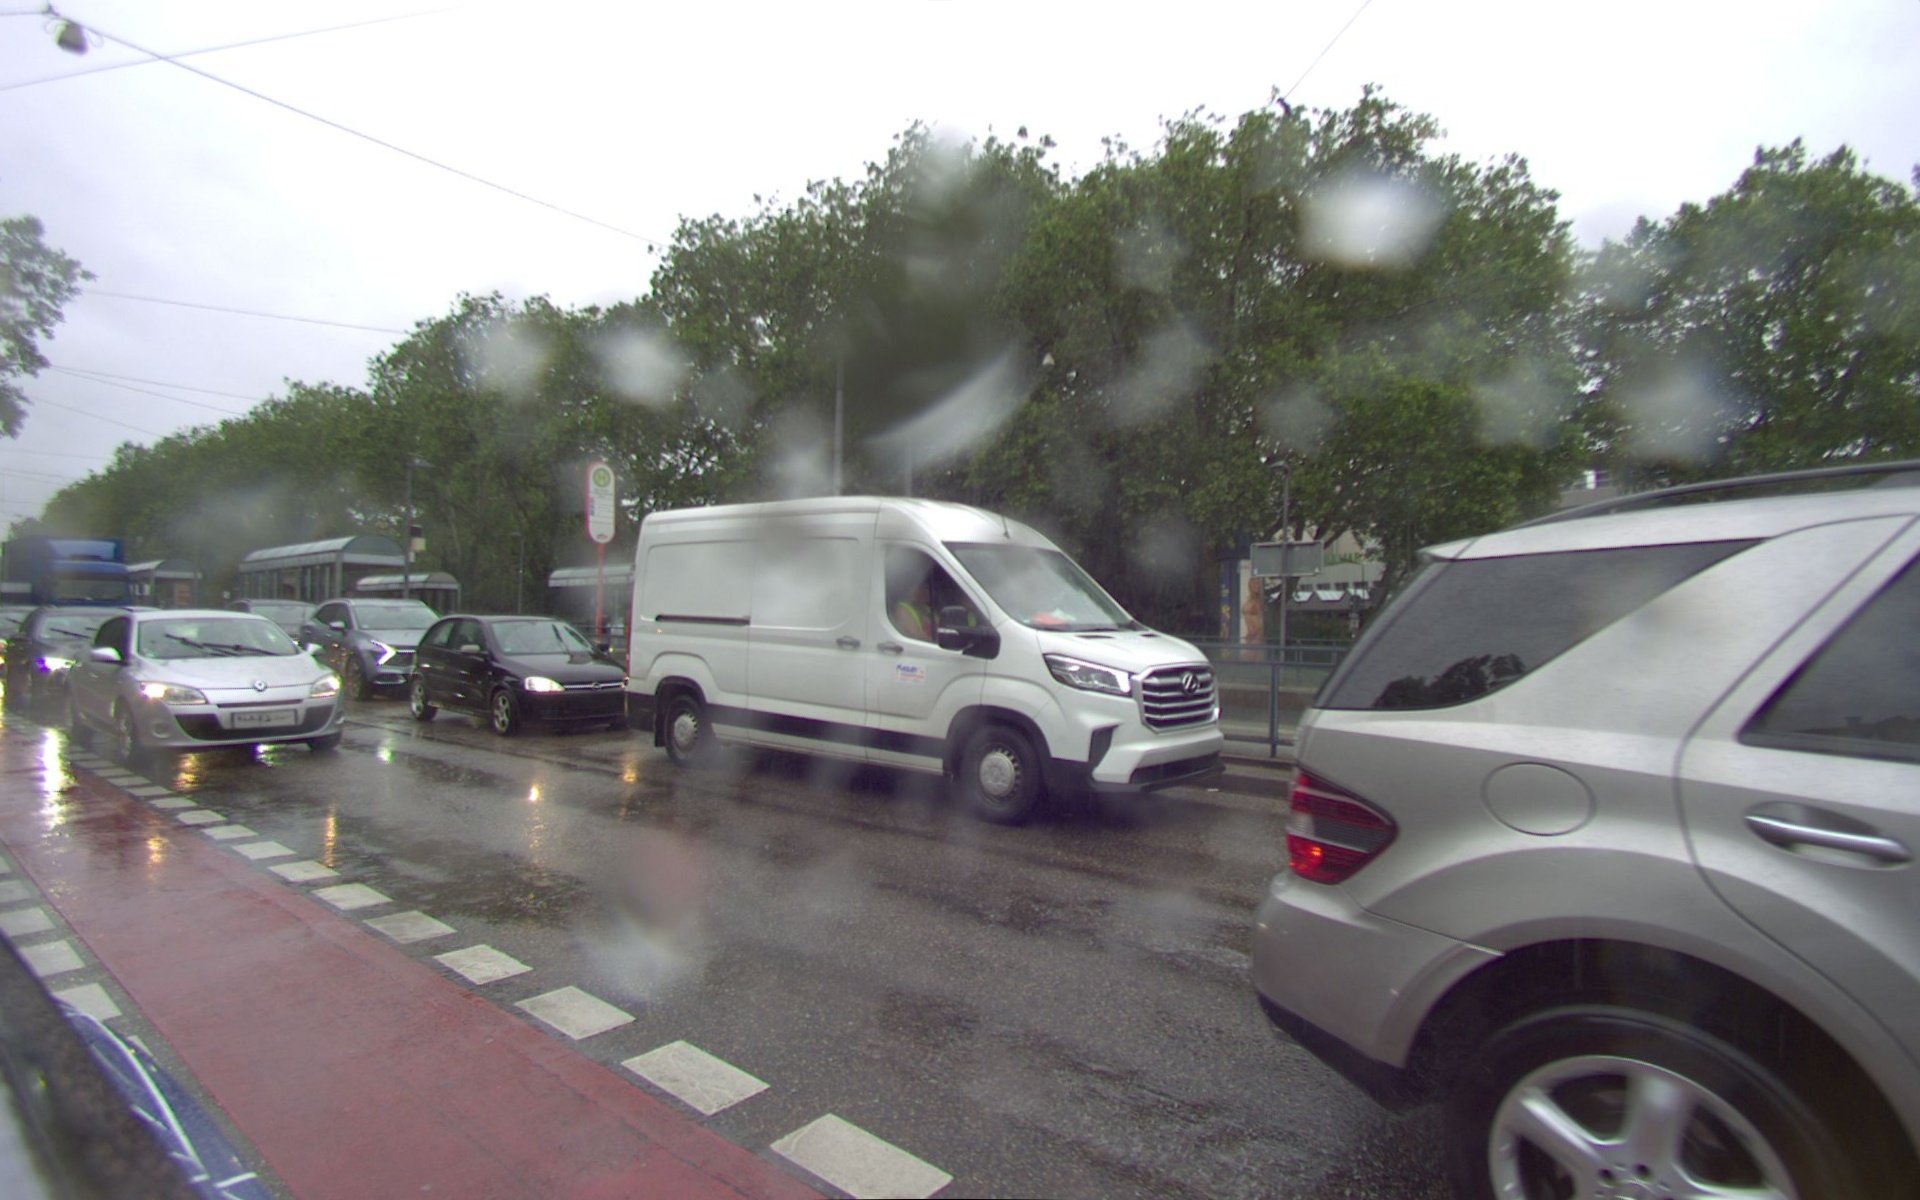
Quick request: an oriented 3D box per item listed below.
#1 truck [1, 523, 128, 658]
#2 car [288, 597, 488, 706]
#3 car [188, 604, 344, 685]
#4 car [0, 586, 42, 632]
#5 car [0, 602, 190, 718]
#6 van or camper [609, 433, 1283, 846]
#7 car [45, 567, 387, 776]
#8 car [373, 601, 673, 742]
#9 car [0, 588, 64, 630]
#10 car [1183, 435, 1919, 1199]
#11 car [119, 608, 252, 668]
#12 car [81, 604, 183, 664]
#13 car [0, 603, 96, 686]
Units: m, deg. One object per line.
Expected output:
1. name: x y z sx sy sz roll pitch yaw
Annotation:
1. truck: -32.088 -0.204 36.135 8.349 4.309 2.386 -2 -2 41
2. car: -9.915 0.832 17.410 4.248 1.647 1.823 -2 -2 43
3. car: -15.747 0.972 22.908 4.187 1.659 1.889 -2 -2 40
4. car: -46.688 0.411 49.424 5.454 2.166 2.313 0 1 43
5. car: -13.738 0.865 15.897 4.667 1.561 1.887 -2 -2 43
6. van or camper: -0.491 0.304 8.873 5.965 2.490 2.153 -1 -2 40
7. car: -7.925 0.652 10.644 4.263 1.755 1.951 -2 -2 40
8. car: -5.792 0.832 13.128 4.553 1.524 1.763 -2 -2 41
9. car: -40.975 0.358 44.427 3.998 1.728 1.973 0 1 41
10. car: 2.935 0.550 1.662 4.676 1.659 1.889 -2 -1 40
11. car: -20.130 0.961 26.244 4.187 1.418 1.889 -2 -2 40
12. car: -24.727 0.987 30.179 4.192 1.659 1.887 -2 -2 44
13. car: -20.546 0.947 22.259 4.191 1.659 1.887 -2 -2 43
